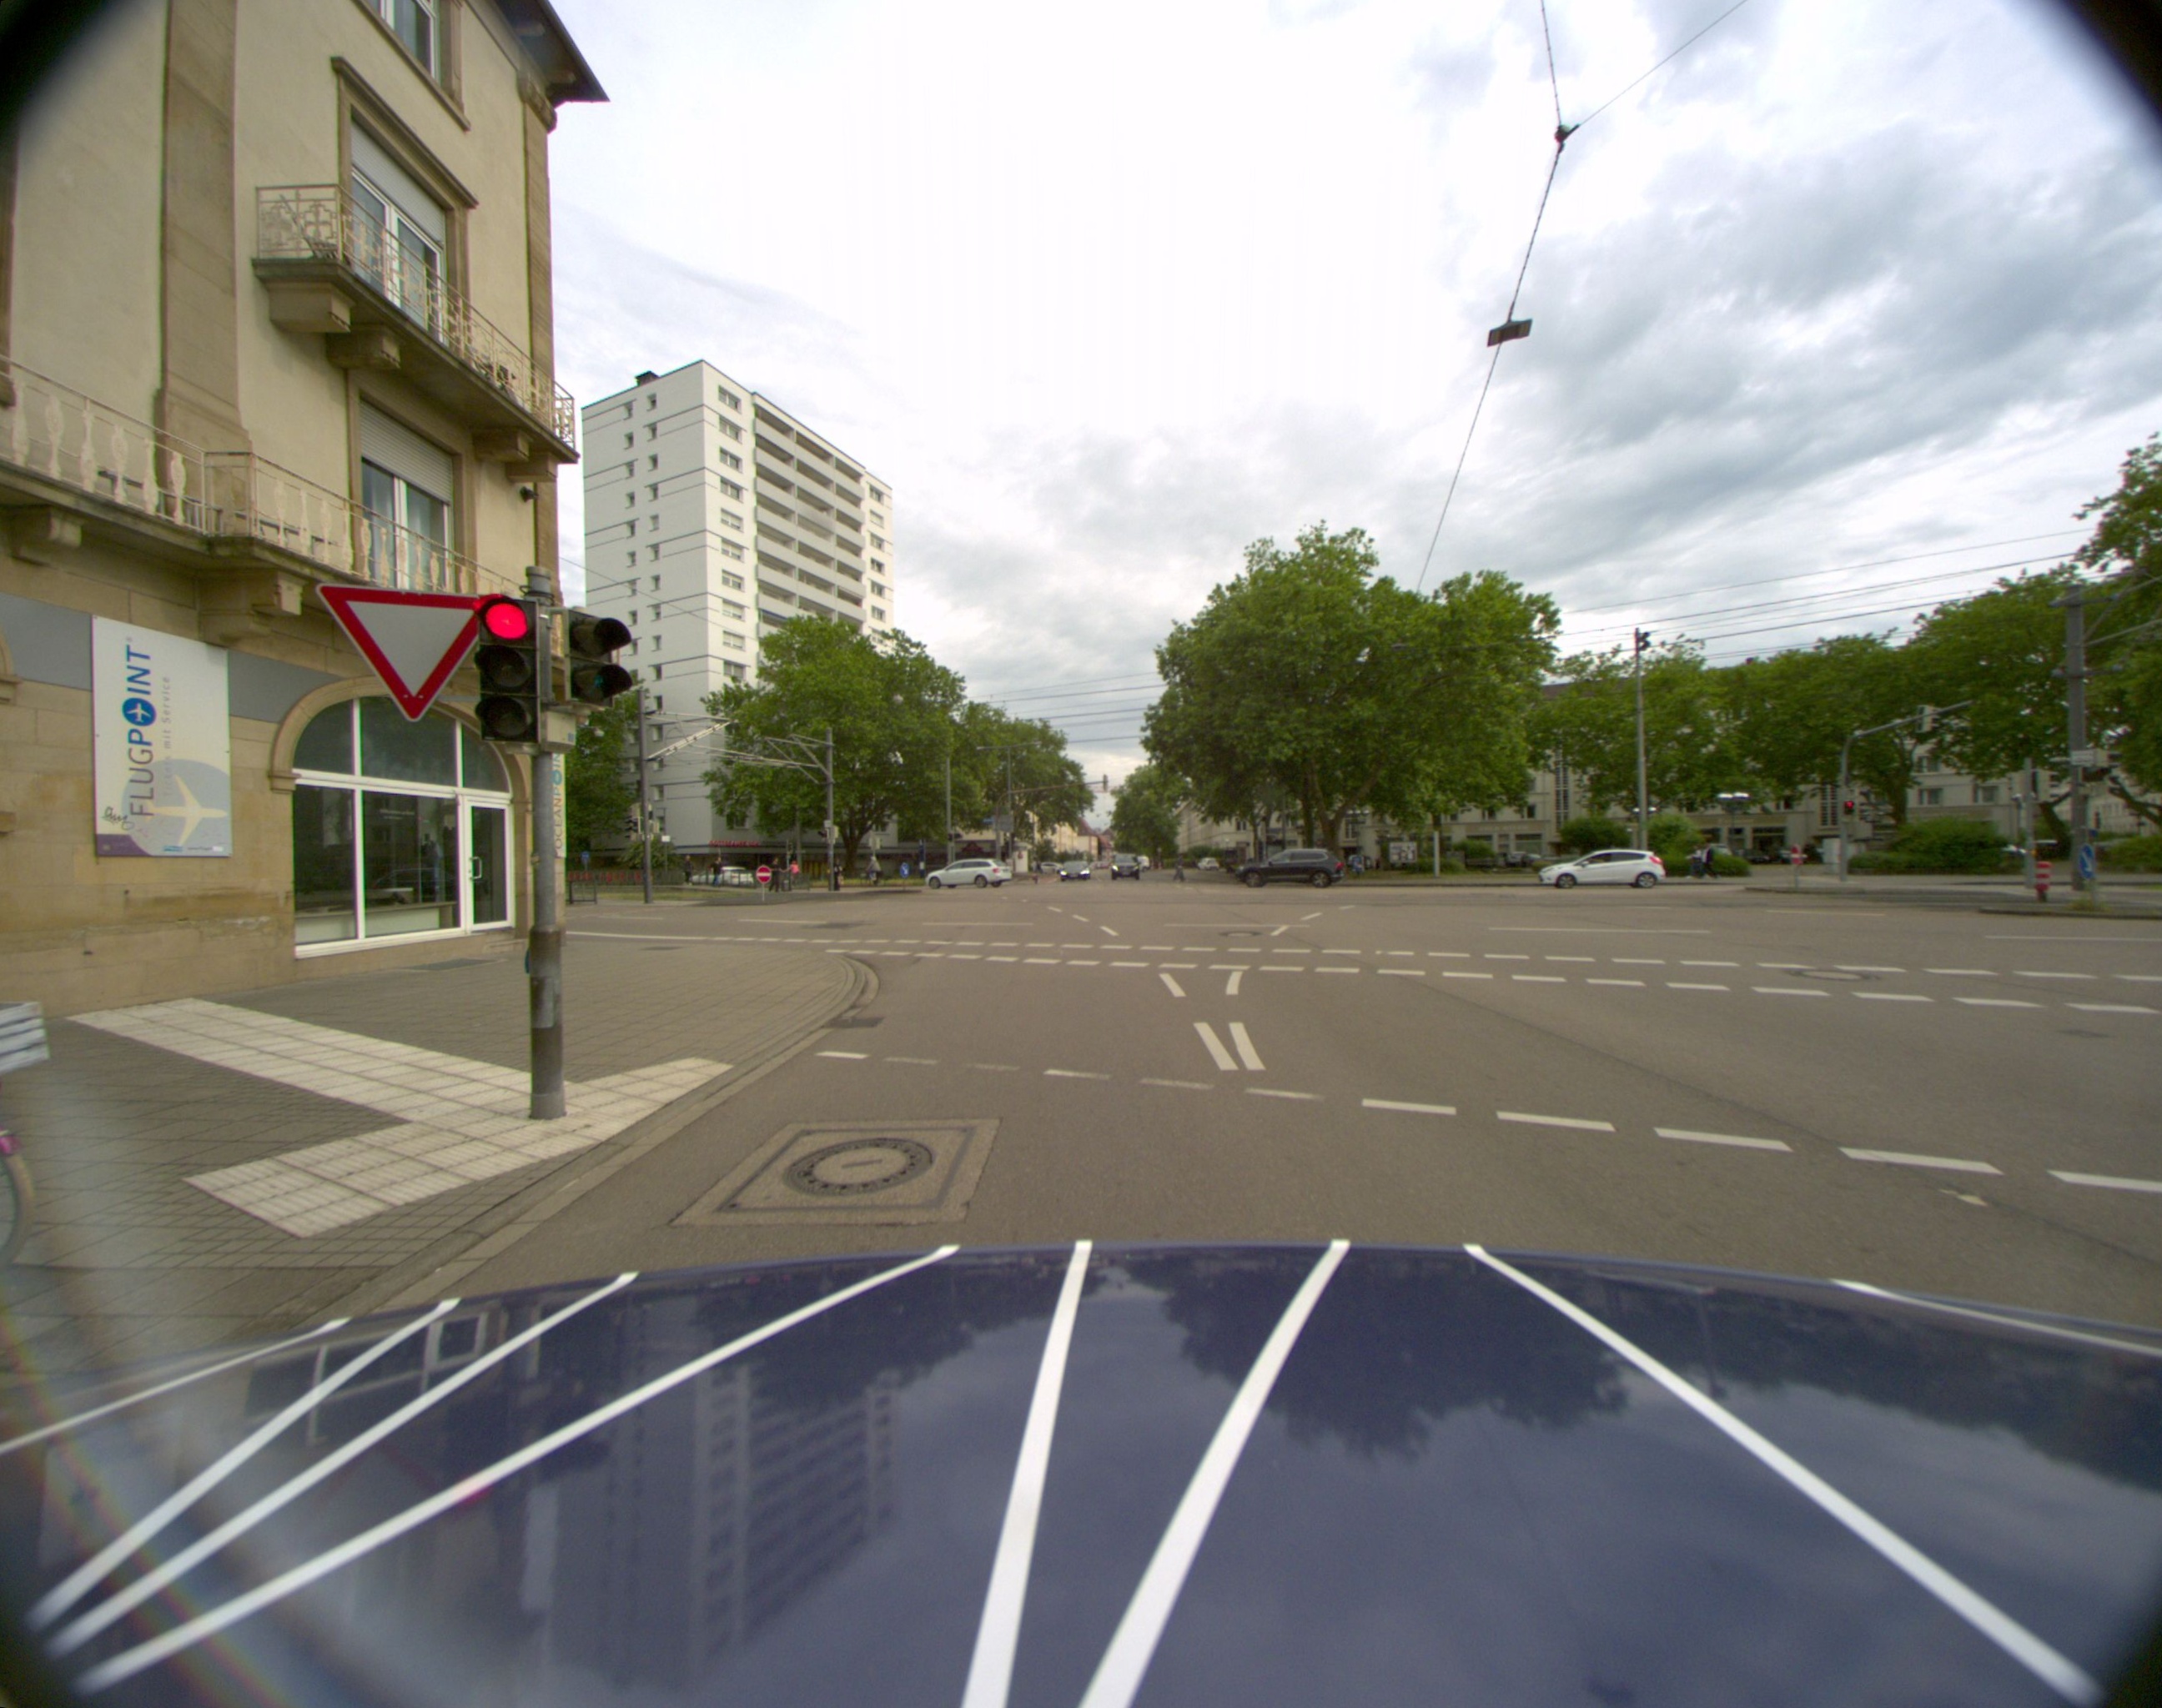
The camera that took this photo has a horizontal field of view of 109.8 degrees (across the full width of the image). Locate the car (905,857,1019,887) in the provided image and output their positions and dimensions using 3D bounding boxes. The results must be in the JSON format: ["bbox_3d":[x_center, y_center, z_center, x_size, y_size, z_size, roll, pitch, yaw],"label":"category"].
[{"bbox_3d":[-6.225,0.955,39.559,5.689,1.516,1.850,-1,-1,23],"label":"car"}]

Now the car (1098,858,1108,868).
[{"bbox_3d":[5.056,1.994,174.329,1.998,2.002,4.000,-2,1,5],"label":"car"}]

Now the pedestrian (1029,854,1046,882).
[{"bbox_3d":[-2.725,0.857,47.165,0.754,1.680,0.808,-1,0,20],"label":"pedestrian"}]

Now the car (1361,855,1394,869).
[{"bbox_3d":[29.446,0.774,75.504,1.997,1.381,4.835,-1,0,8],"label":"car"}]

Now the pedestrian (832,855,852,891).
[{"bbox_3d":[-11.779,0.939,37.447,0.626,1.740,0.657,-1,2,26],"label":"pedestrian"}]

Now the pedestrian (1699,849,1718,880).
[{"bbox_3d":[26.688,0.447,32.301,0.469,1.318,0.457,-1,1,18],"label":"pedestrian"}]

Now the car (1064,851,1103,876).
[{"bbox_3d":[0.200,0.720,54.365,1.660,1.708,3.746,-1,-2,18],"label":"car"}]

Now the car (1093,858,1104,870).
[{"bbox_3d":[3.390,1.916,147.942,1.998,2.002,3.999,-2,1,1],"label":"car"}]

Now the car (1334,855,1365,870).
[{"bbox_3d":[26.745,0.804,75.757,1.997,1.381,4.835,-1,0,8],"label":"car"}]

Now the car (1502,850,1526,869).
[{"bbox_3d":[45.404,0.558,79.768,1.995,2.002,4.007,-1,0,27],"label":"car"}]

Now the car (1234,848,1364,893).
[{"bbox_3d":[9.374,0.709,32.688,5.137,1.773,1.710,-1,2,25],"label":"car"}]

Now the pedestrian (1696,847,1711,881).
[{"bbox_3d":[26.921,0.425,32.853,0.373,1.470,0.362,-1,1,18],"label":"pedestrian"}]

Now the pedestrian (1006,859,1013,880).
[{"bbox_3d":[-4.827,1.054,51.183,0.417,1.357,0.391,-2,2,-3],"label":"pedestrian"}]

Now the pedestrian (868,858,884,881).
[{"bbox_3d":[-13.894,1.048,51.482,0.851,1.500,0.555,-1,2,23],"label":"pedestrian"}]

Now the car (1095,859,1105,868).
[{"bbox_3d":[4.224,2.097,167.610,1.998,1.790,4.000,-2,1,5],"label":"car"}]

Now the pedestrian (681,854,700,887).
[{"bbox_3d":[-21.446,0.891,41.735,0.533,1.779,0.623,-1,2,25],"label":"pedestrian"}]

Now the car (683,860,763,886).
[{"bbox_3d":[-21.232,1.135,45.069,4.402,1.439,1.851,-1,1,24],"label":"car"}]

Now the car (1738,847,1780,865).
[{"bbox_3d":[63.777,0.187,71.506,1.995,1.565,4.007,-1,0,27],"label":"car"}]

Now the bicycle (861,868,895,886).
[{"bbox_3d":[-12.215,1.367,45.738,1.988,1.058,0.731,-1,-1,25],"label":"bicycle"}]

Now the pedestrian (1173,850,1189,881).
[{"bbox_3d":[6.151,0.684,46.666,0.689,1.876,0.687,-3,2,-26],"label":"pedestrian"}]

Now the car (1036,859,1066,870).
[{"bbox_3d":[-4.230,1.505,107.528,3.994,1.368,1.819,-2,1,8],"label":"car"}]

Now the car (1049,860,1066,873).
[{"bbox_3d":[-2.961,1.580,97.647,1.998,1.543,3.908,-2,1,0],"label":"car"}]

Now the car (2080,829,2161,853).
[{"bbox_3d":[73.594,-0.887,53.251,3.990,1.565,1.695,-1,2,25],"label":"car"}]

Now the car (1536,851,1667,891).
[{"bbox_3d":[19.625,0.639,28.846,3.881,1.390,1.710,-1,2,25],"label":"car"}]

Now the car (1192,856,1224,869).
[{"bbox_3d":[15.470,1.021,92.836,1.805,1.477,3.992,-1,0,-25],"label":"car"}]

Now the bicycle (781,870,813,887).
[{"bbox_3d":[-18.278,1.568,48.911,1.988,1.058,0.731,-1,-1,24],"label":"bicycle"}]

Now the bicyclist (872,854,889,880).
[{"bbox_3d":[-12.048,0.802,45.653,0.755,1.552,0.586,-1,-1,25],"label":"bicyclist"}]

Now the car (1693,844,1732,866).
[{"bbox_3d":[60.733,0.064,73.145,1.995,2.002,4.007,-1,0,27],"label":"car"}]

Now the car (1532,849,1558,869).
[{"bbox_3d":[47.795,0.496,78.349,1.995,2.002,4.007,-1,0,27],"label":"car"}]

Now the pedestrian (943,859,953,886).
[{"bbox_3d":[-8.000,1.127,45.827,0.524,1.603,0.526,-2,2,-8],"label":"pedestrian"}]

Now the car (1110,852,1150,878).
[{"bbox_3d":[3.478,0.808,53.176,1.909,1.708,3.746,-1,-2,18],"label":"car"}]

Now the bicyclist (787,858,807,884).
[{"bbox_3d":[-18.263,1.089,48.920,0.992,1.627,0.709,-1,-1,24],"label":"bicyclist"}]

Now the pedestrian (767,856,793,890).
[{"bbox_3d":[-14.919,0.937,37.695,0.876,1.686,0.744,-1,2,25],"label":"pedestrian"}]

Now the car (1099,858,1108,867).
[{"bbox_3d":[5.314,2.072,180.269,1.998,2.002,4.000,-2,1,5],"label":"car"}]

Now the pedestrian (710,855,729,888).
[{"bbox_3d":[-19.018,0.911,40.003,0.547,1.741,0.623,-1,2,25],"label":"pedestrian"}]

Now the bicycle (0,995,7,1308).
[{"bbox_3d":[-4.621,1.040,2.459,1.571,1.121,0.476,2,2,-1],"label":"bicycle"}]

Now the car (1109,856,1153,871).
[{"bbox_3d":[5.821,1.074,88.556,4.839,1.654,1.996,-1,0,-28],"label":"car"}]
